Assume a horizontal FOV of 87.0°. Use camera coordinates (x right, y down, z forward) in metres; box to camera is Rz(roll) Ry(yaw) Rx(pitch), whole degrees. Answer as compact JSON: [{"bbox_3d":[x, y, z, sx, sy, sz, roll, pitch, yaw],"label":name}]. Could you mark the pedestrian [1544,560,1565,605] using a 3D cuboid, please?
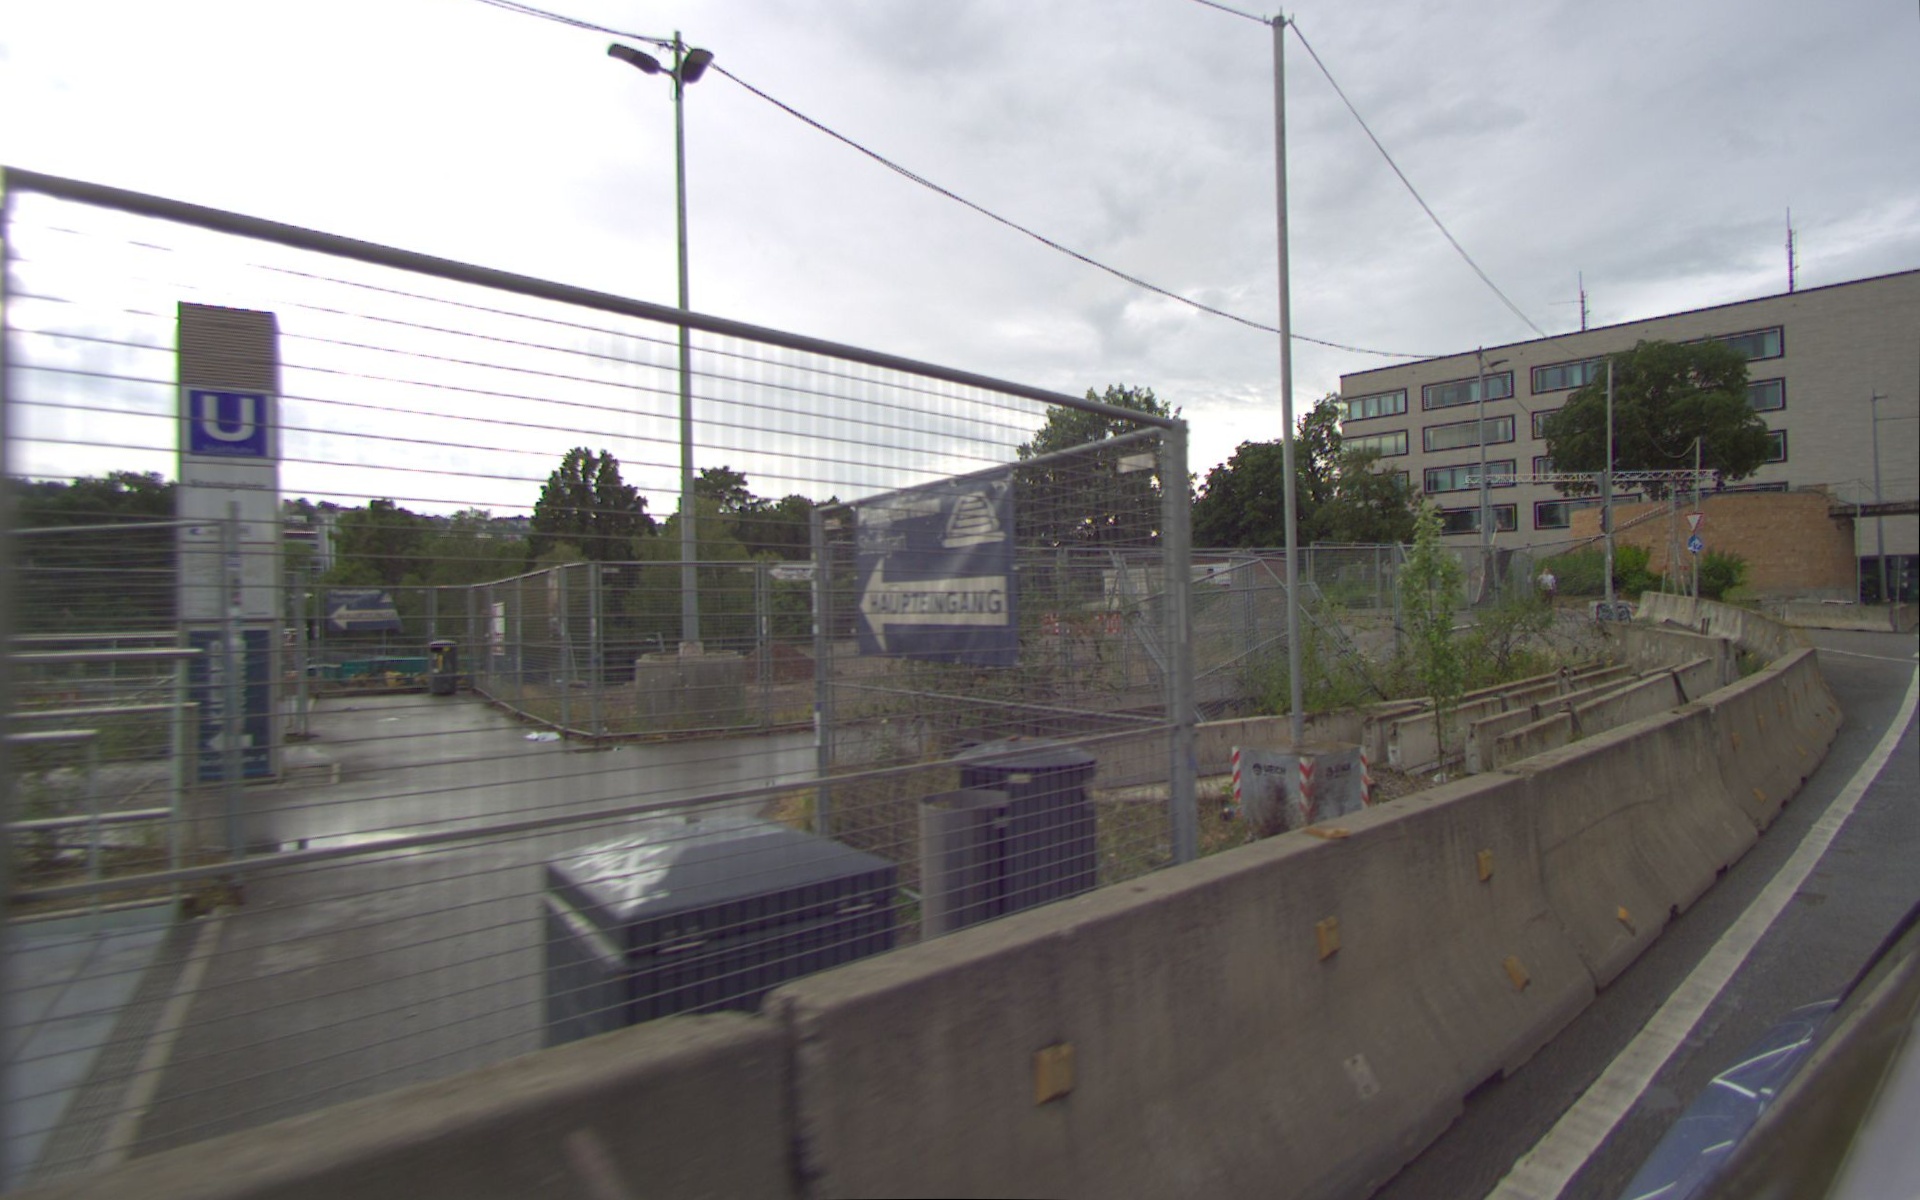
[{"bbox_3d":[24.146,-0.711,41.088,0.685,1.800,0.807,0,0,29],"label":"pedestrian"}]
